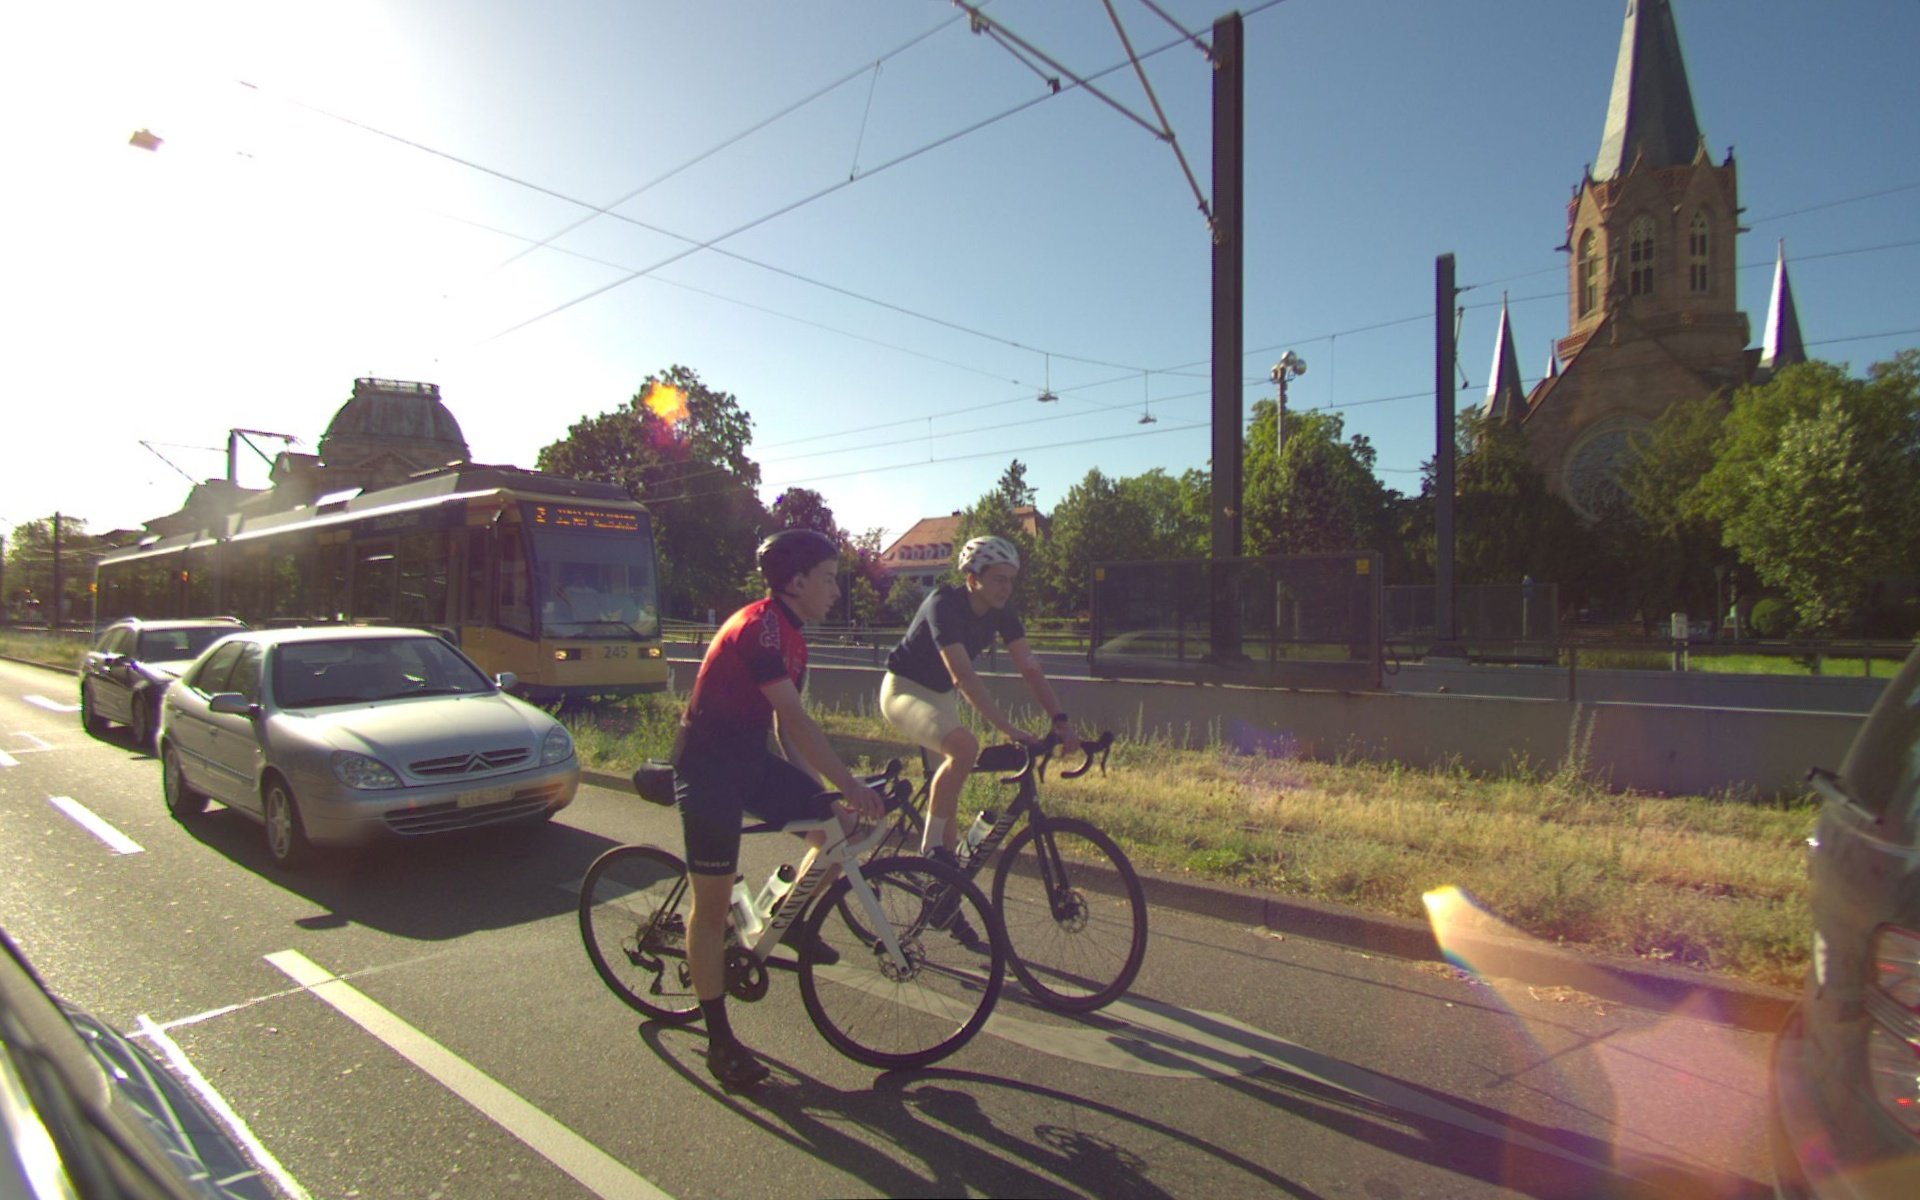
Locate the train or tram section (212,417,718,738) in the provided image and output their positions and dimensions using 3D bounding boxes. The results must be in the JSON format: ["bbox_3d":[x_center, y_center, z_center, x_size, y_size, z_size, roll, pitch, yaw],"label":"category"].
[{"bbox_3d":[-9.209,-0.087,17.158,13.178,3.713,2.918,-2,-2,42],"label":"train or tram section"}]

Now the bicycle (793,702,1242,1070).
[{"bbox_3d":[0.136,0.975,3.972,1.814,1.005,0.532,-1,0,41],"label":"bicycle"}]

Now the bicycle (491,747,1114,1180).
[{"bbox_3d":[-0.512,1.020,3.214,1.892,0.946,0.627,-1,0,20],"label":"bicycle"}]

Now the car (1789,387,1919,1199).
[{"bbox_3d":[3.444,0.466,0.726,4.354,1.548,1.973,-1,0,41],"label":"car"}]

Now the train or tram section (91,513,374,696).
[{"bbox_3d":[-18.994,0.268,25.768,13.628,3.640,2.918,-2,-2,42],"label":"train or tram section"}]

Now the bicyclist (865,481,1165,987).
[{"bbox_3d":[0.205,0.443,3.912,0.919,1.672,0.685,-1,0,41],"label":"bicyclist"}]

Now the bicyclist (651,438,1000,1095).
[{"bbox_3d":[-0.390,0.444,3.165,0.847,1.743,0.699,-1,0,20],"label":"bicyclist"}]

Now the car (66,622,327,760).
[{"bbox_3d":[-9.865,1.030,12.962,4.130,1.440,1.867,-1,0,41],"label":"car"}]

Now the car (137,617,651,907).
[{"bbox_3d":[-4.239,0.866,7.301,4.131,1.440,1.973,-1,0,41],"label":"car"}]
